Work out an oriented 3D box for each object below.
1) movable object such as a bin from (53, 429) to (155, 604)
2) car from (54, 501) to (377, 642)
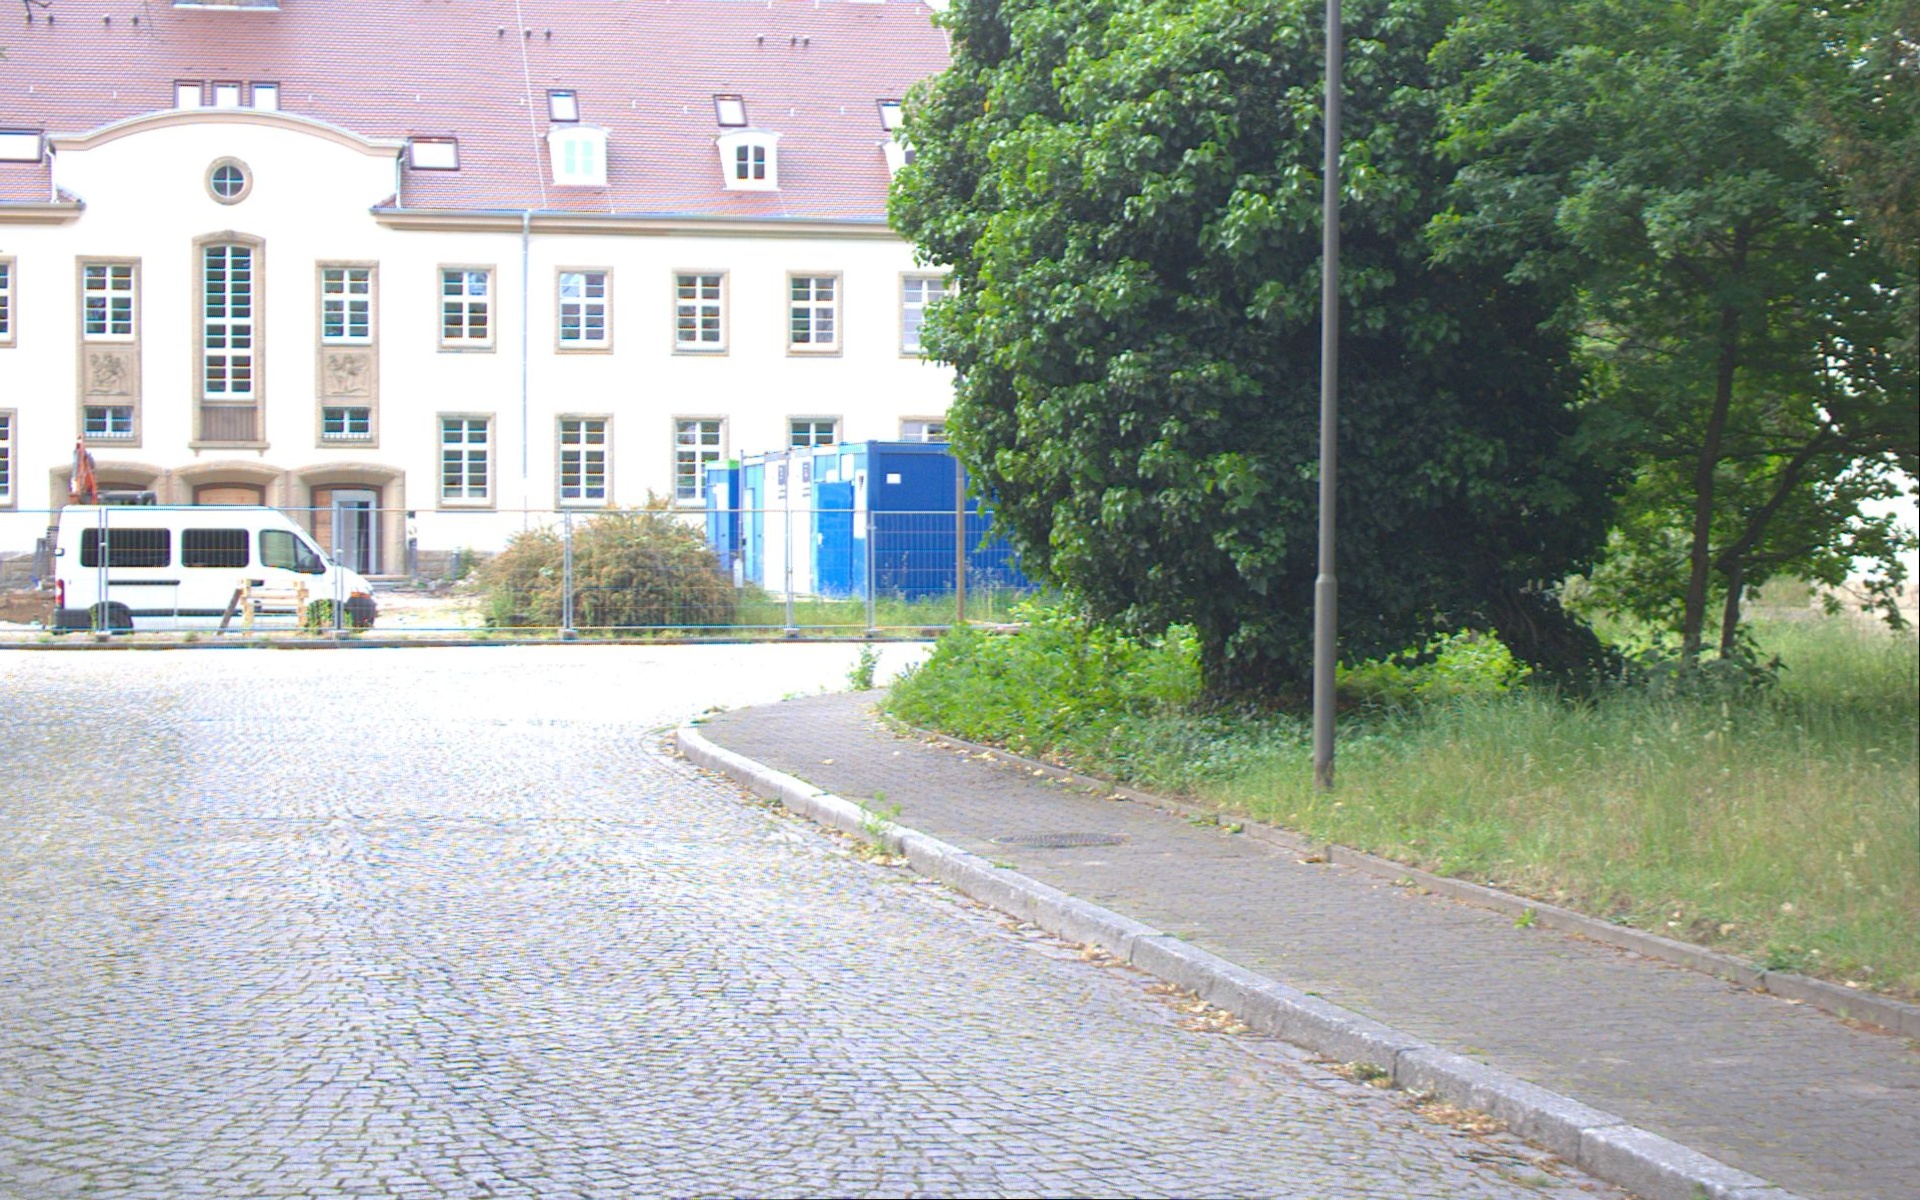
[{"bbox_3d":[-19.078,-1.837,76.499,1.993,3.758,5.319,0,1,-16],"label":"movable object such as a bin"},{"bbox_3d":[-12.574,-0.494,58.301,5.261,2.336,1.910,0,1,-11],"label":"car"}]
